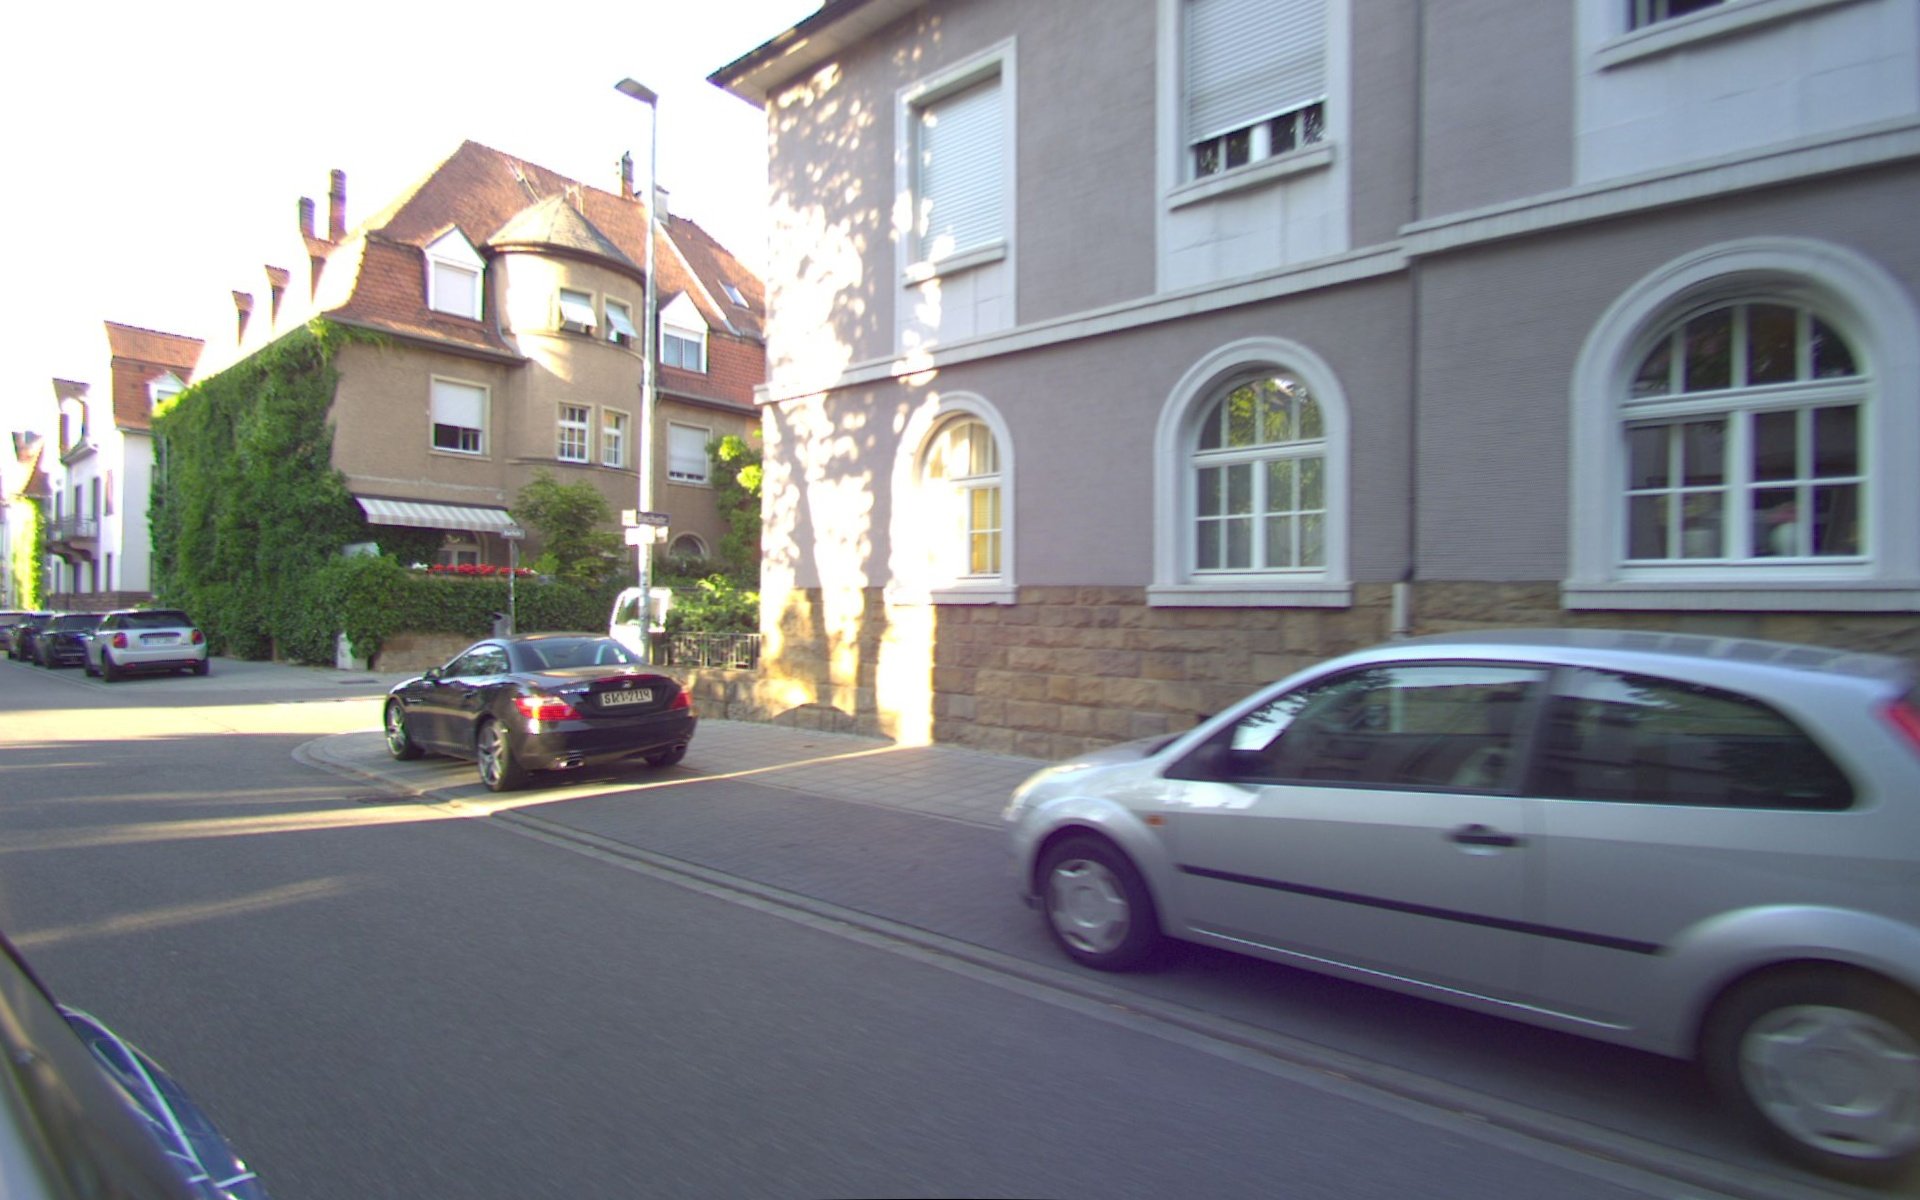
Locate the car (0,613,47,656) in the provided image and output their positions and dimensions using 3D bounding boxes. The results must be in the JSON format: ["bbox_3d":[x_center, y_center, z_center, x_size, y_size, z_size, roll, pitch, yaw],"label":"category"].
[{"bbox_3d":[-35.119,1.243,37.059,4.772,1.472,1.775,-1,0,39],"label":"car"}]

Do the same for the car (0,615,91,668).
[{"bbox_3d":[-27.038,1.164,29.840,4.097,1.431,1.632,-1,0,42],"label":"car"}]

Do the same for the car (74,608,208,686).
[{"bbox_3d":[-17.511,0.939,21.584,3.917,1.471,1.685,-1,0,43],"label":"car"}]

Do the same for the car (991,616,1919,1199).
[{"bbox_3d":[2.155,0.809,3.865,3.959,1.456,1.636,-1,0,42],"label":"car"}]

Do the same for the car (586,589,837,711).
[{"bbox_3d":[-4.660,0.887,19.528,1.998,2.029,4.358,2,0,38],"label":"car"}]

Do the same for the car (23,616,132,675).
[{"bbox_3d":[-22.792,1.124,26.097,3.719,1.390,1.669,-1,0,42],"label":"car"}]

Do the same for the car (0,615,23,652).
[{"bbox_3d":[-39.469,1.354,41.029,3.840,1.458,1.637,-1,0,39],"label":"car"}]

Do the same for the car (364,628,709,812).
[{"bbox_3d":[-4.276,0.993,9.902,4.046,1.333,1.635,0,0,44],"label":"car"}]

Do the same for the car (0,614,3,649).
[{"bbox_3d":[-43.044,1.372,44.117,3.763,1.497,1.636,-1,0,42],"label":"car"}]
